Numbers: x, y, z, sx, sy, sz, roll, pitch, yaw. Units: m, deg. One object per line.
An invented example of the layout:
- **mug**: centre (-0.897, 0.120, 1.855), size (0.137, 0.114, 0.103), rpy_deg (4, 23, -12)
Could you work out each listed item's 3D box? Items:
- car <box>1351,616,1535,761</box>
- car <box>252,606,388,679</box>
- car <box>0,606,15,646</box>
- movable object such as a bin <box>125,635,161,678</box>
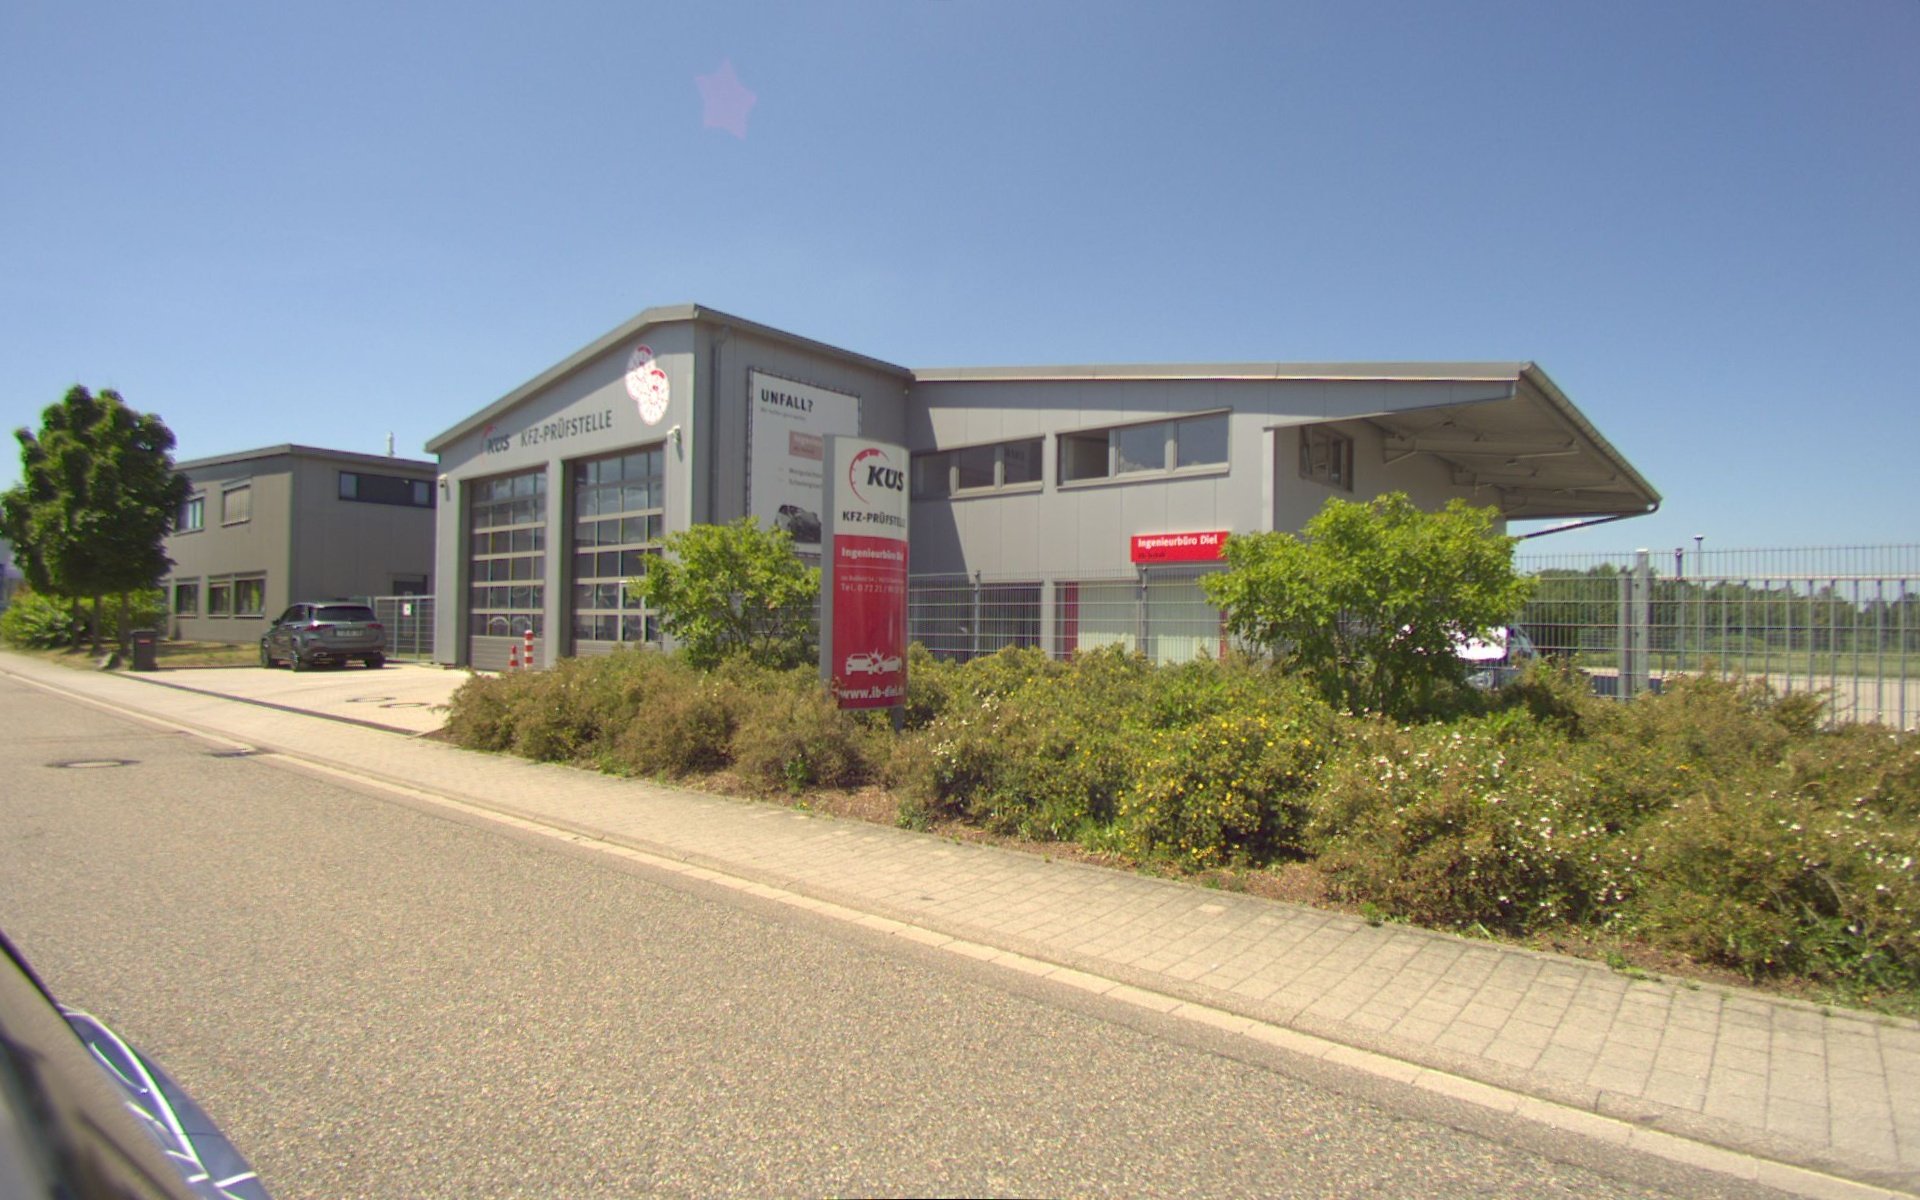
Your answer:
- **car**: centre (6.223, 1.018, 12.869), size (1.555, 1.564, 3.470), rpy_deg (-1, -2, 35)
- **car**: centre (-17.107, 1.095, 26.929), size (4.914, 1.749, 1.971), rpy_deg (-2, -2, 44)
- **car**: centre (-49.001, 1.276, 50.555), size (5.214, 1.971, 1.973), rpy_deg (-1, -2, 40)
- **movable object such as a bin**: centre (-21.019, 1.447, 26.038), size (0.765, 1.074, 0.573), rpy_deg (-1, 0, 40)
